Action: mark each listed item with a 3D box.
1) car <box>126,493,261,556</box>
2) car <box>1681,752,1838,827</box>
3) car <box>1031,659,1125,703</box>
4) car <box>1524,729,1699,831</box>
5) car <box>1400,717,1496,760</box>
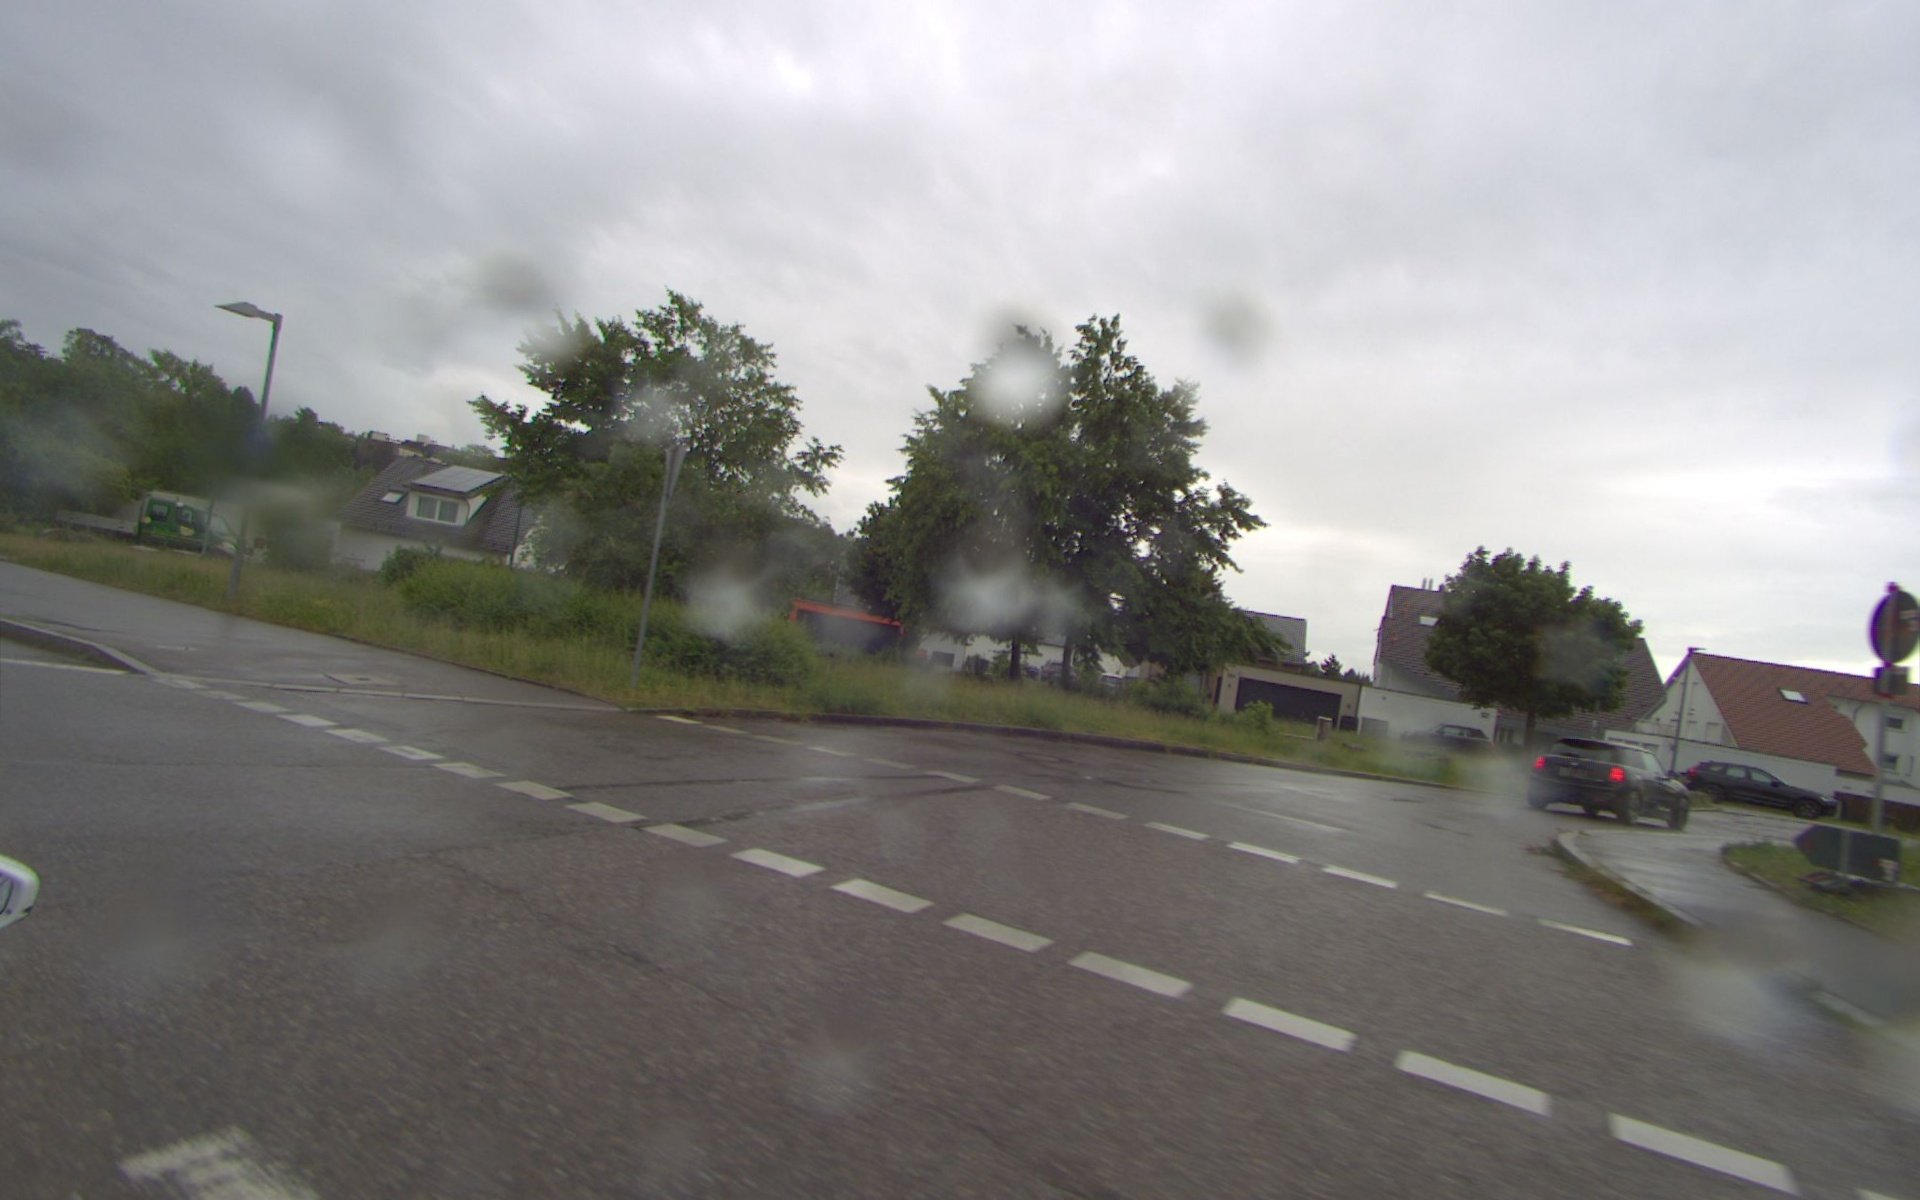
[{"bbox_3d":[-29.285,-2.862,38.552,3.367,1.707,2.000,7,-5,-11],"label":"car"},{"bbox_3d":[30.468,7.161,38.507,4.398,1.760,1.994,9,0,39],"label":"car"},{"bbox_3d":[5.962,4.112,51.317,4.472,1.771,1.914,5,-1,2],"label":"car"},{"bbox_3d":[12.108,3.355,18.629,3.507,1.369,1.446,12,-4,-35],"label":"car"},{"bbox_3d":[21.353,6.046,44.132,3.467,1.250,1.463,8,-4,17],"label":"car"}]
